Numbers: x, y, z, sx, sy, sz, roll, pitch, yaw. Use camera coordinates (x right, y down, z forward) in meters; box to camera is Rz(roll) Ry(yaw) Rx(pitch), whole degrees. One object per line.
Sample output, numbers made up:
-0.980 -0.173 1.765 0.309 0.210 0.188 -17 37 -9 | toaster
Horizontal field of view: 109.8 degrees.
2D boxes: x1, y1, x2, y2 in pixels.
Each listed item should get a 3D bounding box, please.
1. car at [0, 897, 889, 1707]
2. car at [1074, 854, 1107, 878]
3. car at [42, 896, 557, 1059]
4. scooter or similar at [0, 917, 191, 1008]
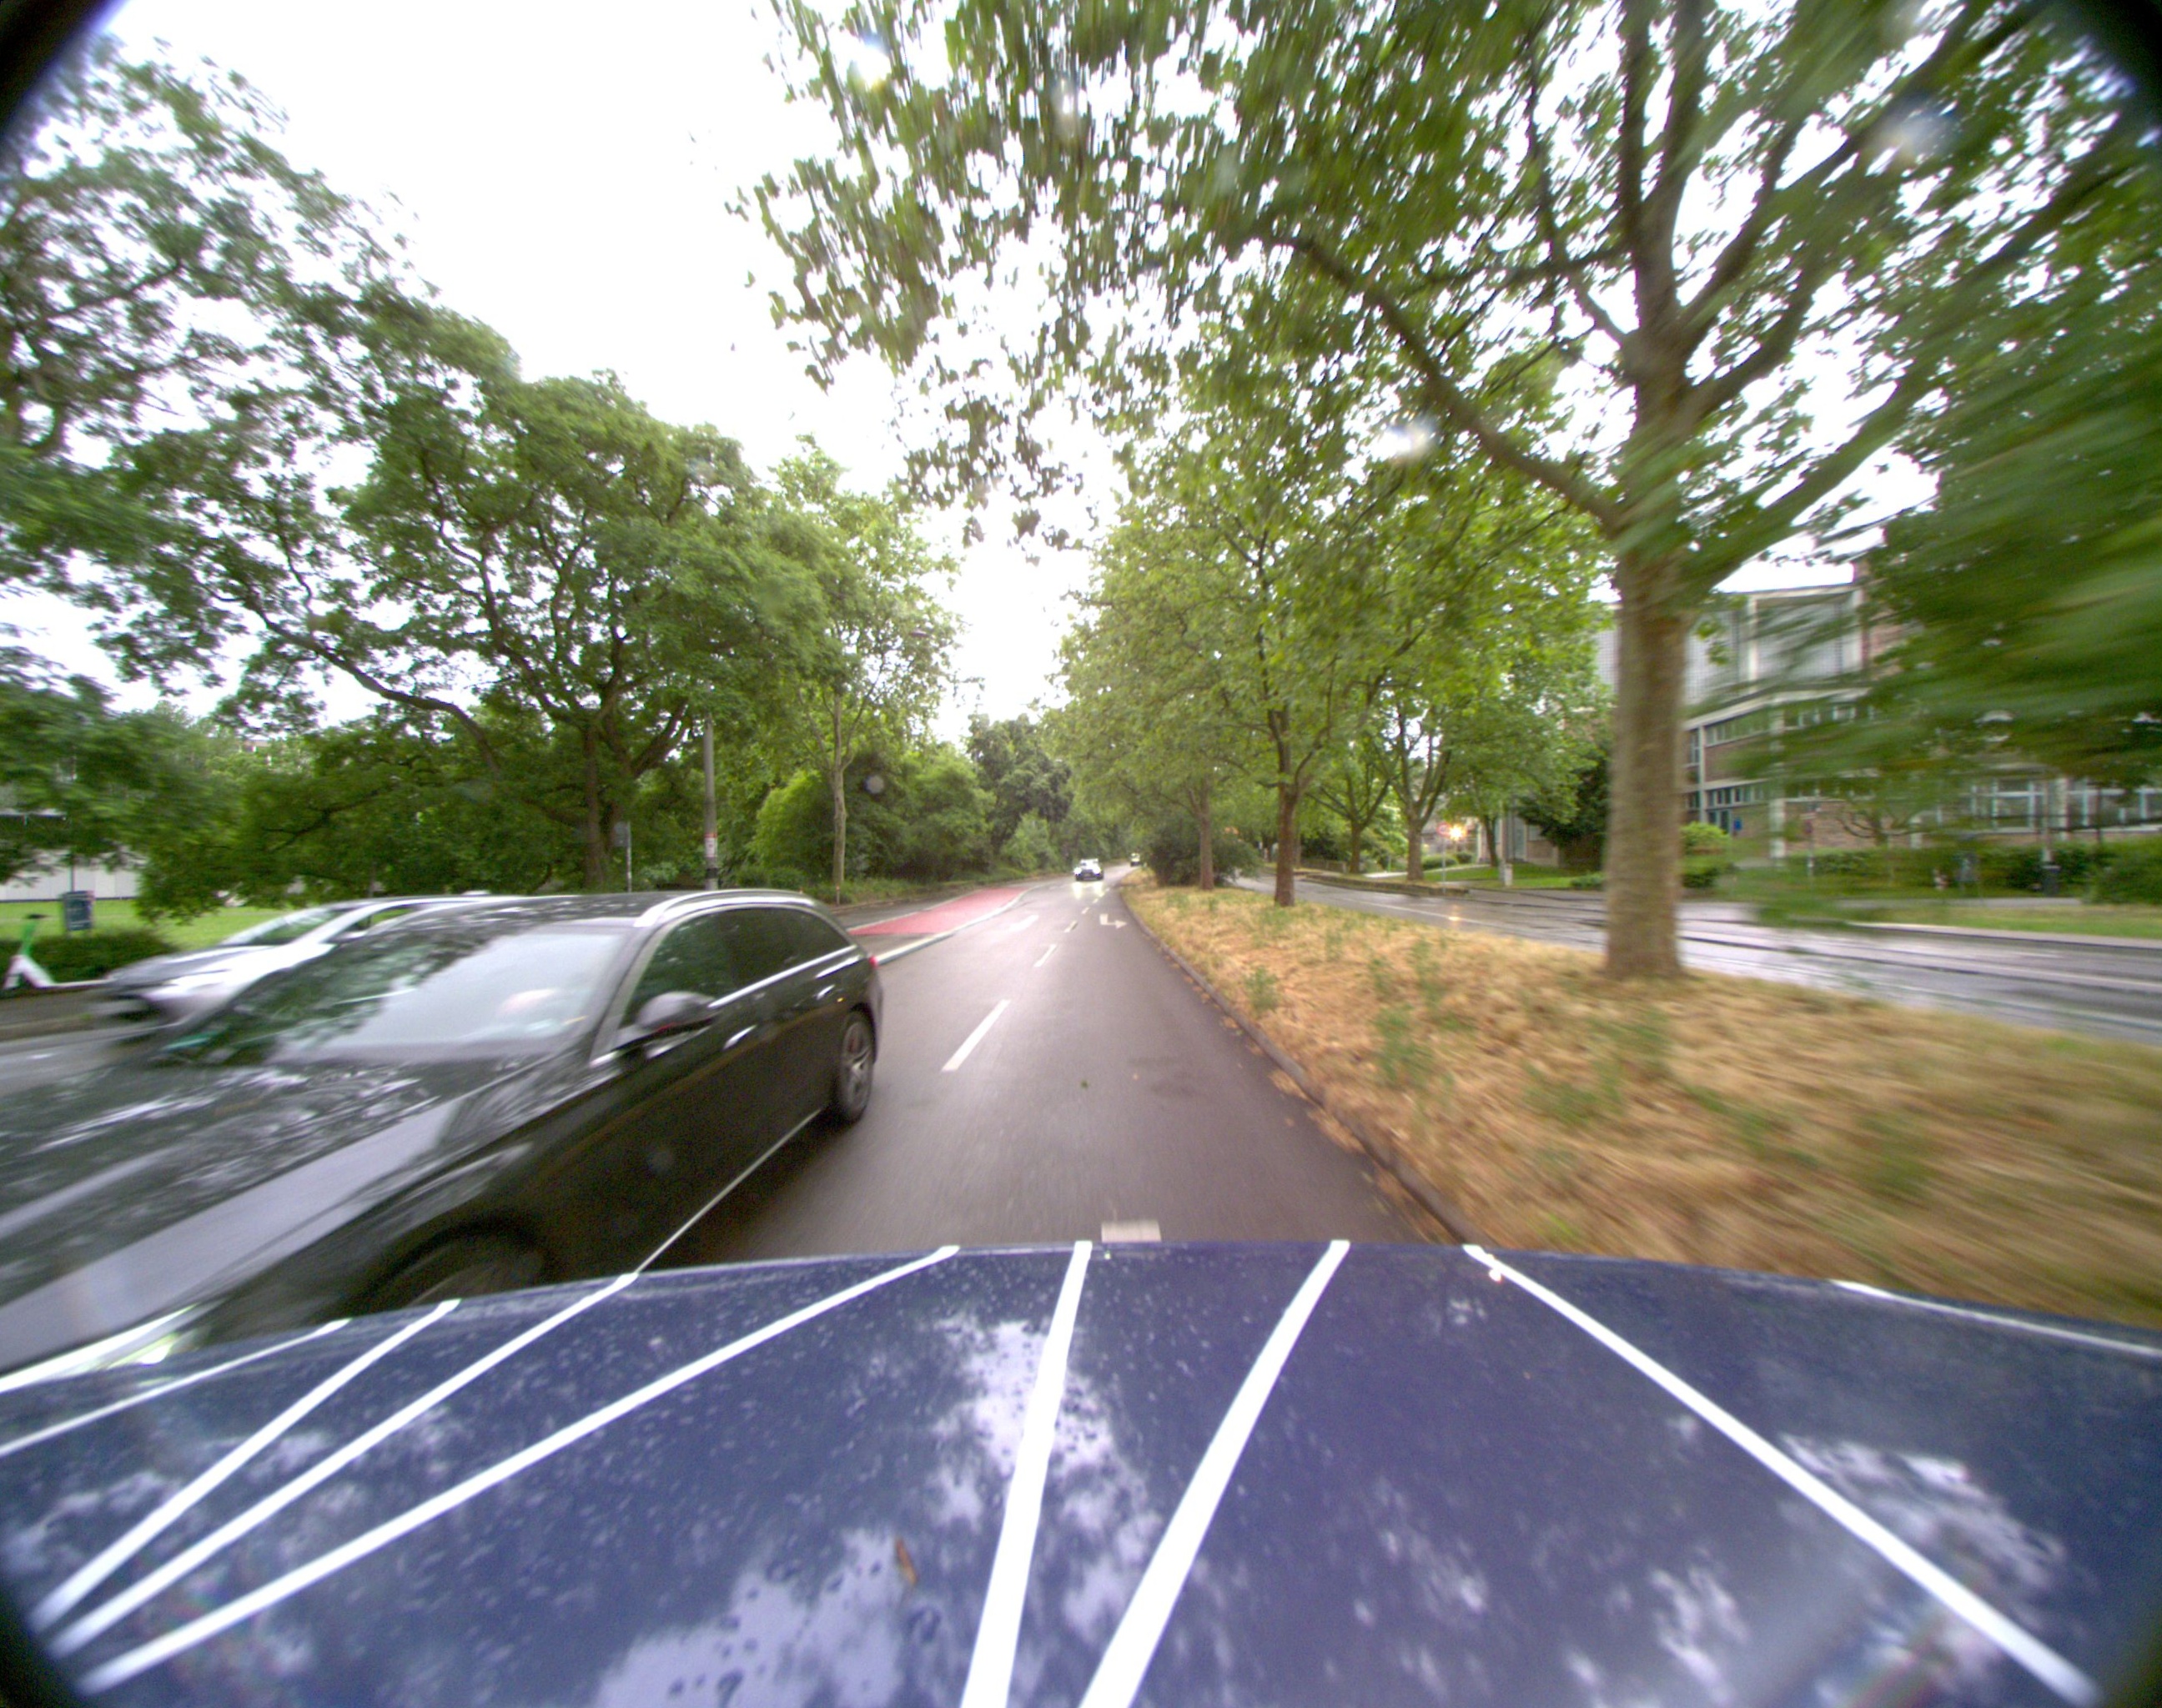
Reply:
-2.340 1.055 3.015 1.884 1.437 4.930 -3 0 0 | car
0.776 0.883 58.409 1.832 1.599 4.579 -2 1 10 | car
-9.828 1.414 10.169 1.864 1.441 4.409 -2 0 16 | car
-14.543 1.541 11.114 0.557 1.095 1.894 2 0 22 | scooter or similar
